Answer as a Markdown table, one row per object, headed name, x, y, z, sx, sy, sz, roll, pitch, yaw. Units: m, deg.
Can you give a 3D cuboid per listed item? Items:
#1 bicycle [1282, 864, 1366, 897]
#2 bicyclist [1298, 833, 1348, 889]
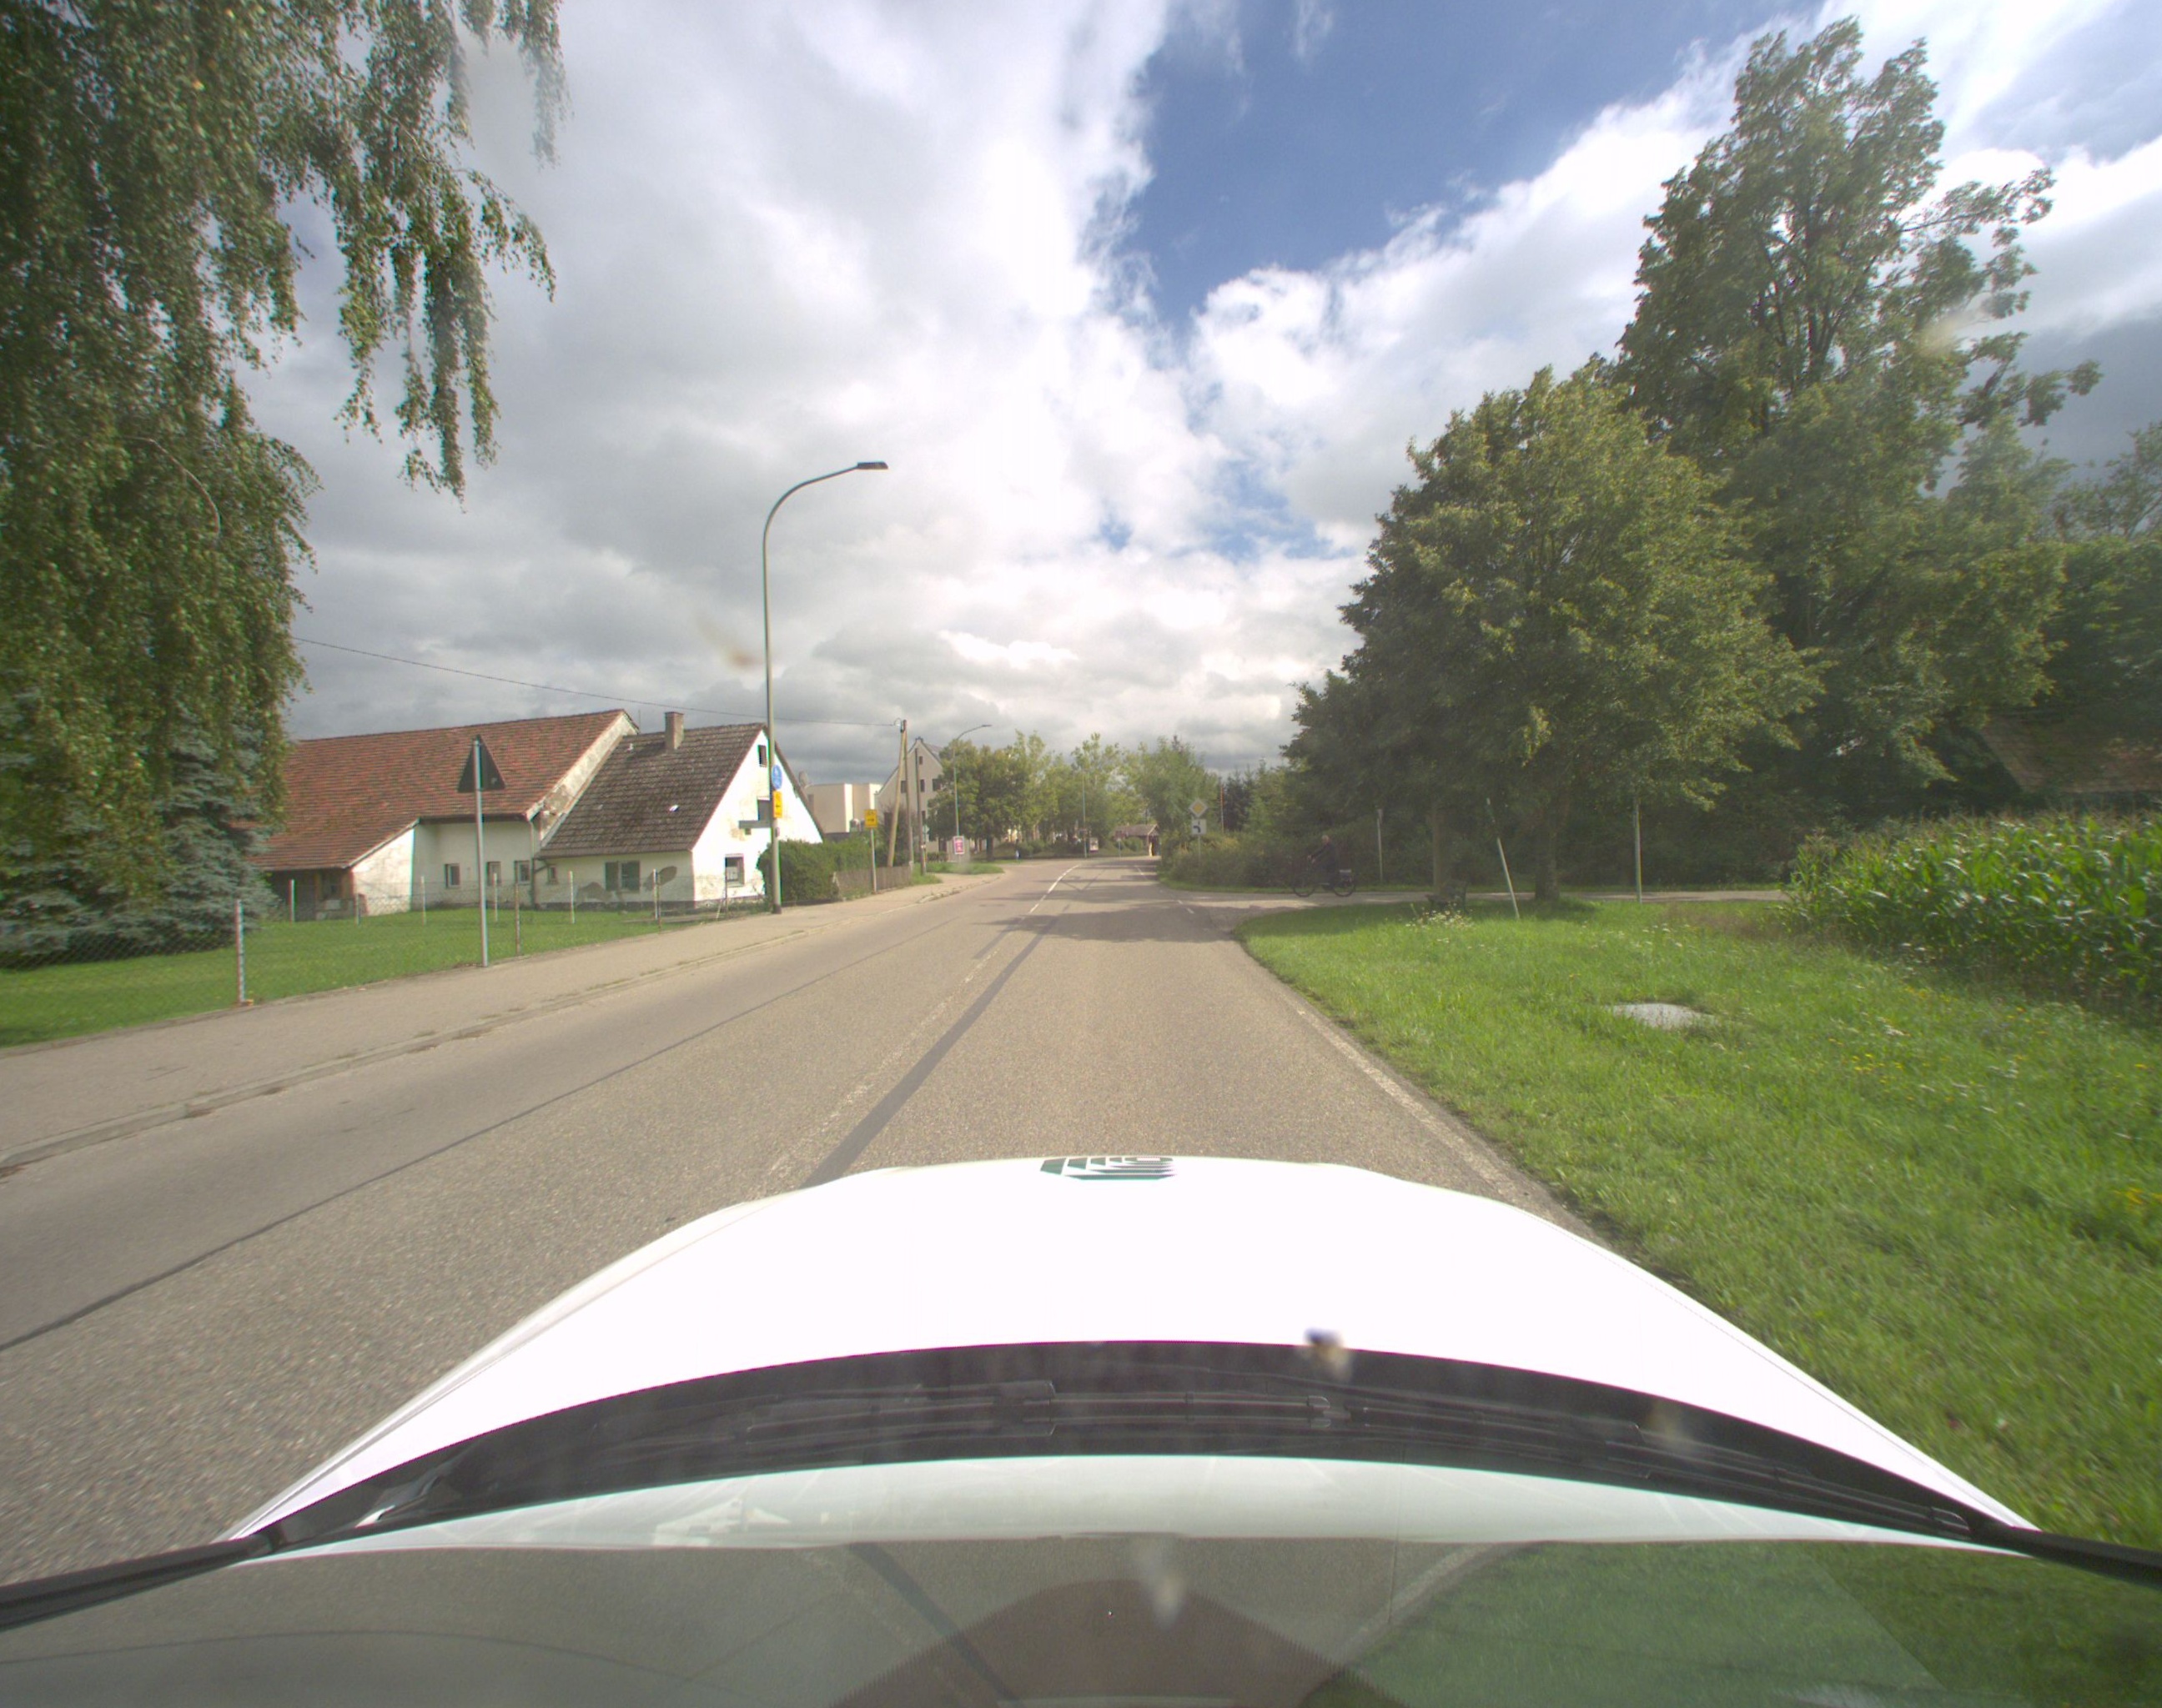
| name | x | y | z | sx | sy | sz | roll | pitch | yaw |
| --- | --- | --- | --- | --- | --- | --- | --- | --- | --- |
| bicycle | 7.052 | 0.755 | 23.689 | 2.117 | 0.864 | 1.049 | -1 | 1 | -12 |
| bicyclist | 7.025 | 0.197 | 23.676 | 1.018 | 1.585 | 1.050 | -1 | 0 | -12 |
